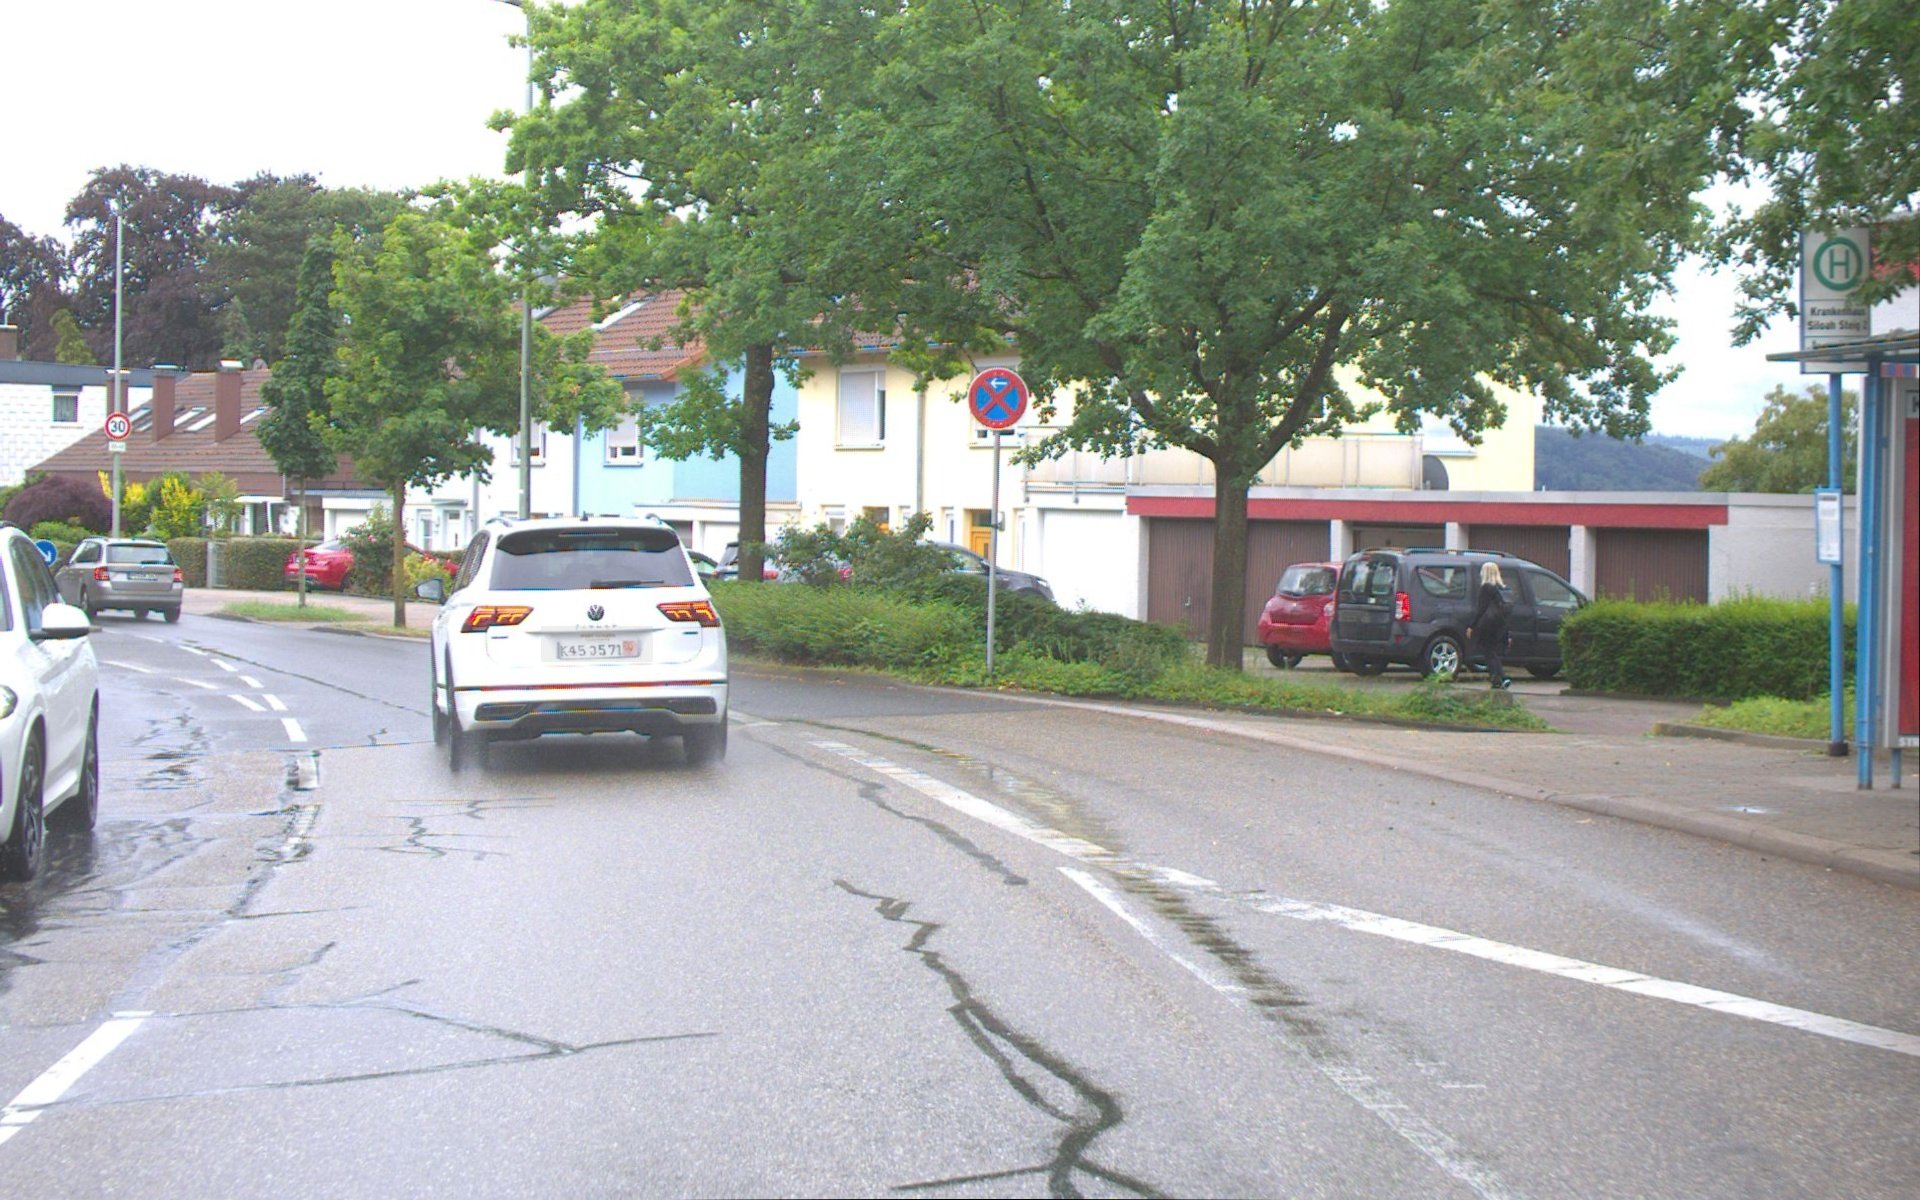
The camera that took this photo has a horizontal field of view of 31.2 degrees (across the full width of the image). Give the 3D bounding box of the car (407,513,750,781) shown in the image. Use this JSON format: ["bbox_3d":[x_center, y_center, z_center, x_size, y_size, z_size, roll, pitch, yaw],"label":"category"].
[{"bbox_3d":[-2.711,0.246,23.631,1.864,1.645,4.001,-1,1,-13],"label":"car"}]

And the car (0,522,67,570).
[{"bbox_3d":[-29.125,-1.640,103.433,3.987,1.437,1.847,0,1,-33],"label":"car"}]

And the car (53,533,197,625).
[{"bbox_3d":[-14.789,-0.384,60.751,1.768,1.546,4.001,0,1,-24],"label":"car"}]

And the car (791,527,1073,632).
[{"bbox_3d":[-0.449,-0.347,56.529,4.179,1.666,1.992,0,1,-31],"label":"car"}]

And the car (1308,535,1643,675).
[{"bbox_3d":[6.675,0.047,44.440,3.987,1.715,1.924,0,1,-33],"label":"car"}]

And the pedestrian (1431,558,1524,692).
[{"bbox_3d":[6.135,0.291,40.742,0.664,1.552,0.842,0,1,-37],"label":"pedestrian"}]

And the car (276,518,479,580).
[{"bbox_3d":[-13.331,-1.171,78.821,4.305,1.256,1.679,1,1,-41],"label":"car"}]

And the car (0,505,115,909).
[{"bbox_3d":[-5.278,0.395,16.589,1.890,1.606,4.867,-1,3,-9],"label":"car"}]

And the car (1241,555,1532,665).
[{"bbox_3d":[5.848,0.124,47.042,3.692,1.437,1.707,0,1,-33],"label":"car"}]
